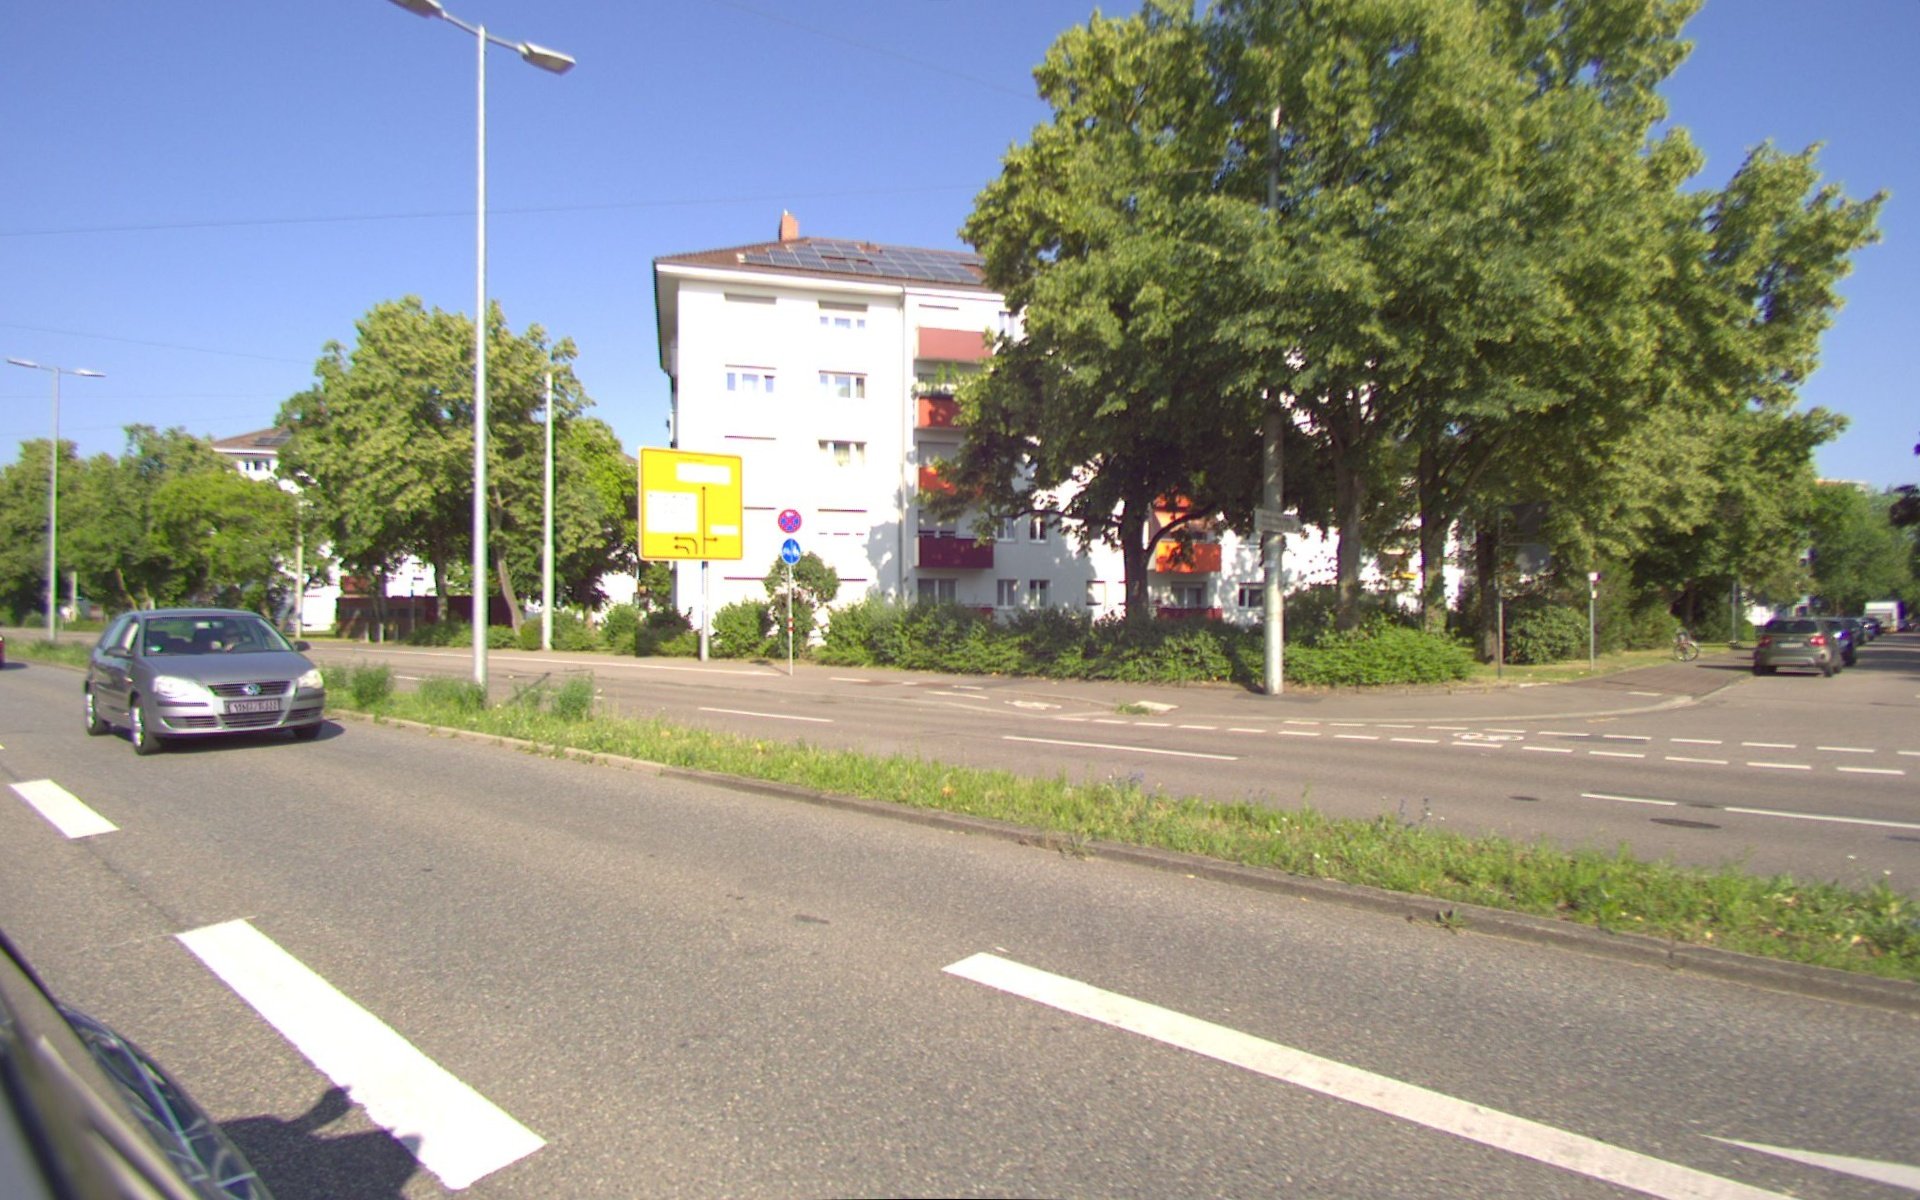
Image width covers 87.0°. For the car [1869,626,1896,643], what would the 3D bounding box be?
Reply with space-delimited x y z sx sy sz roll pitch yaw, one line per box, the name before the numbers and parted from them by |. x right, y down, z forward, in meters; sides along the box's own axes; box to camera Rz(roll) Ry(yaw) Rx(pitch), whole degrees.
car | 87.274 3.283 95.742 1.787 1.521 3.943 -1 -2 43

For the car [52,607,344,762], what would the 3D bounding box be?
car | -8.647 0.820 11.386 3.827 1.439 1.672 -1 0 38

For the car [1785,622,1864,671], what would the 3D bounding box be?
car | 29.246 1.523 34.201 1.787 1.521 3.942 -1 -2 44

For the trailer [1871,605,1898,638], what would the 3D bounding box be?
trailer | 94.956 2.195 103.903 2.000 3.325 8.774 0 -1 43

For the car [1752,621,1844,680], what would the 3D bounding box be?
car | 22.969 1.330 27.706 1.759 1.498 3.513 -1 -1 43

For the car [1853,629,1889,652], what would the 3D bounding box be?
car | 63.553 2.804 70.617 1.787 1.521 3.943 -1 -2 43

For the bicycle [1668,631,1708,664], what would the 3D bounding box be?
bicycle | 23.341 1.509 32.435 0.785 0.996 1.720 -1 -2 44

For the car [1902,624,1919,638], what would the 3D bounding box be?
car | 105.863 3.421 112.410 1.787 1.521 3.943 -1 -2 43
